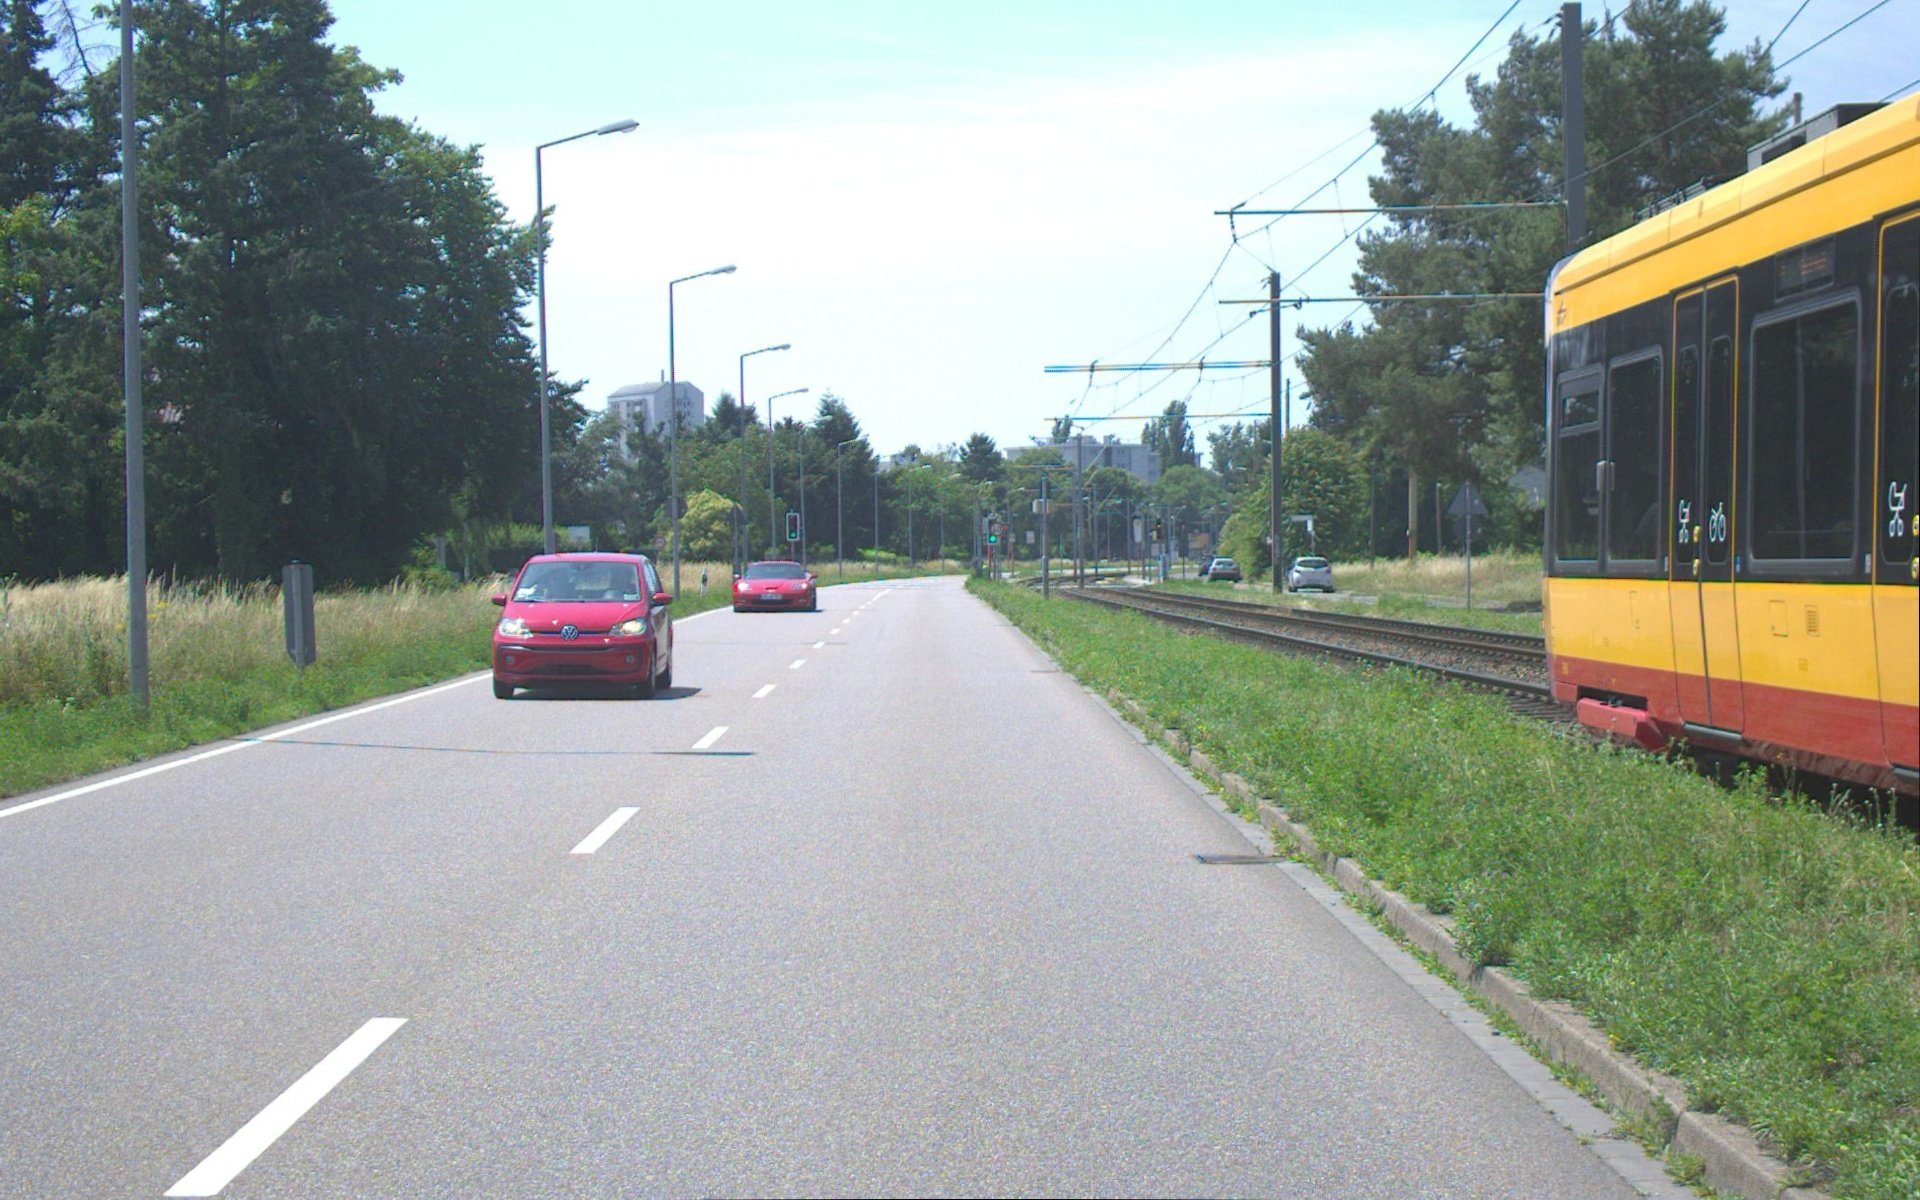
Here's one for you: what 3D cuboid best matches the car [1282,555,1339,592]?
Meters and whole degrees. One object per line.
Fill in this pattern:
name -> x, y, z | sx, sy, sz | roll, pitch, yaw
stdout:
car -> 14.958, -1.139, 146.858 | 1.993, 1.503, 4.000 | -1, 0, 0

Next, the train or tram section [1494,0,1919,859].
train or tram section -> 5.202, -0.804, 18.382 | 2.765, 3.677, 11.186 | -1, 0, -1

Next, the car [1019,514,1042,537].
car -> 5.274, -5.566, 256.992 | 1.551, 1.579, 3.569 | -1, 0, 0

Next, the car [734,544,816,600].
car -> -4.481, -0.665, 83.775 | 1.807, 1.281, 4.286 | -1, 0, -1

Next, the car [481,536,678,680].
car -> -3.903, 0.081, 35.793 | 1.645, 1.395, 3.844 | -1, 0, -1

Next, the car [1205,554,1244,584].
car -> 15.553, -1.817, 202.438 | 1.915, 1.656, 4.000 | -1, 0, 0
